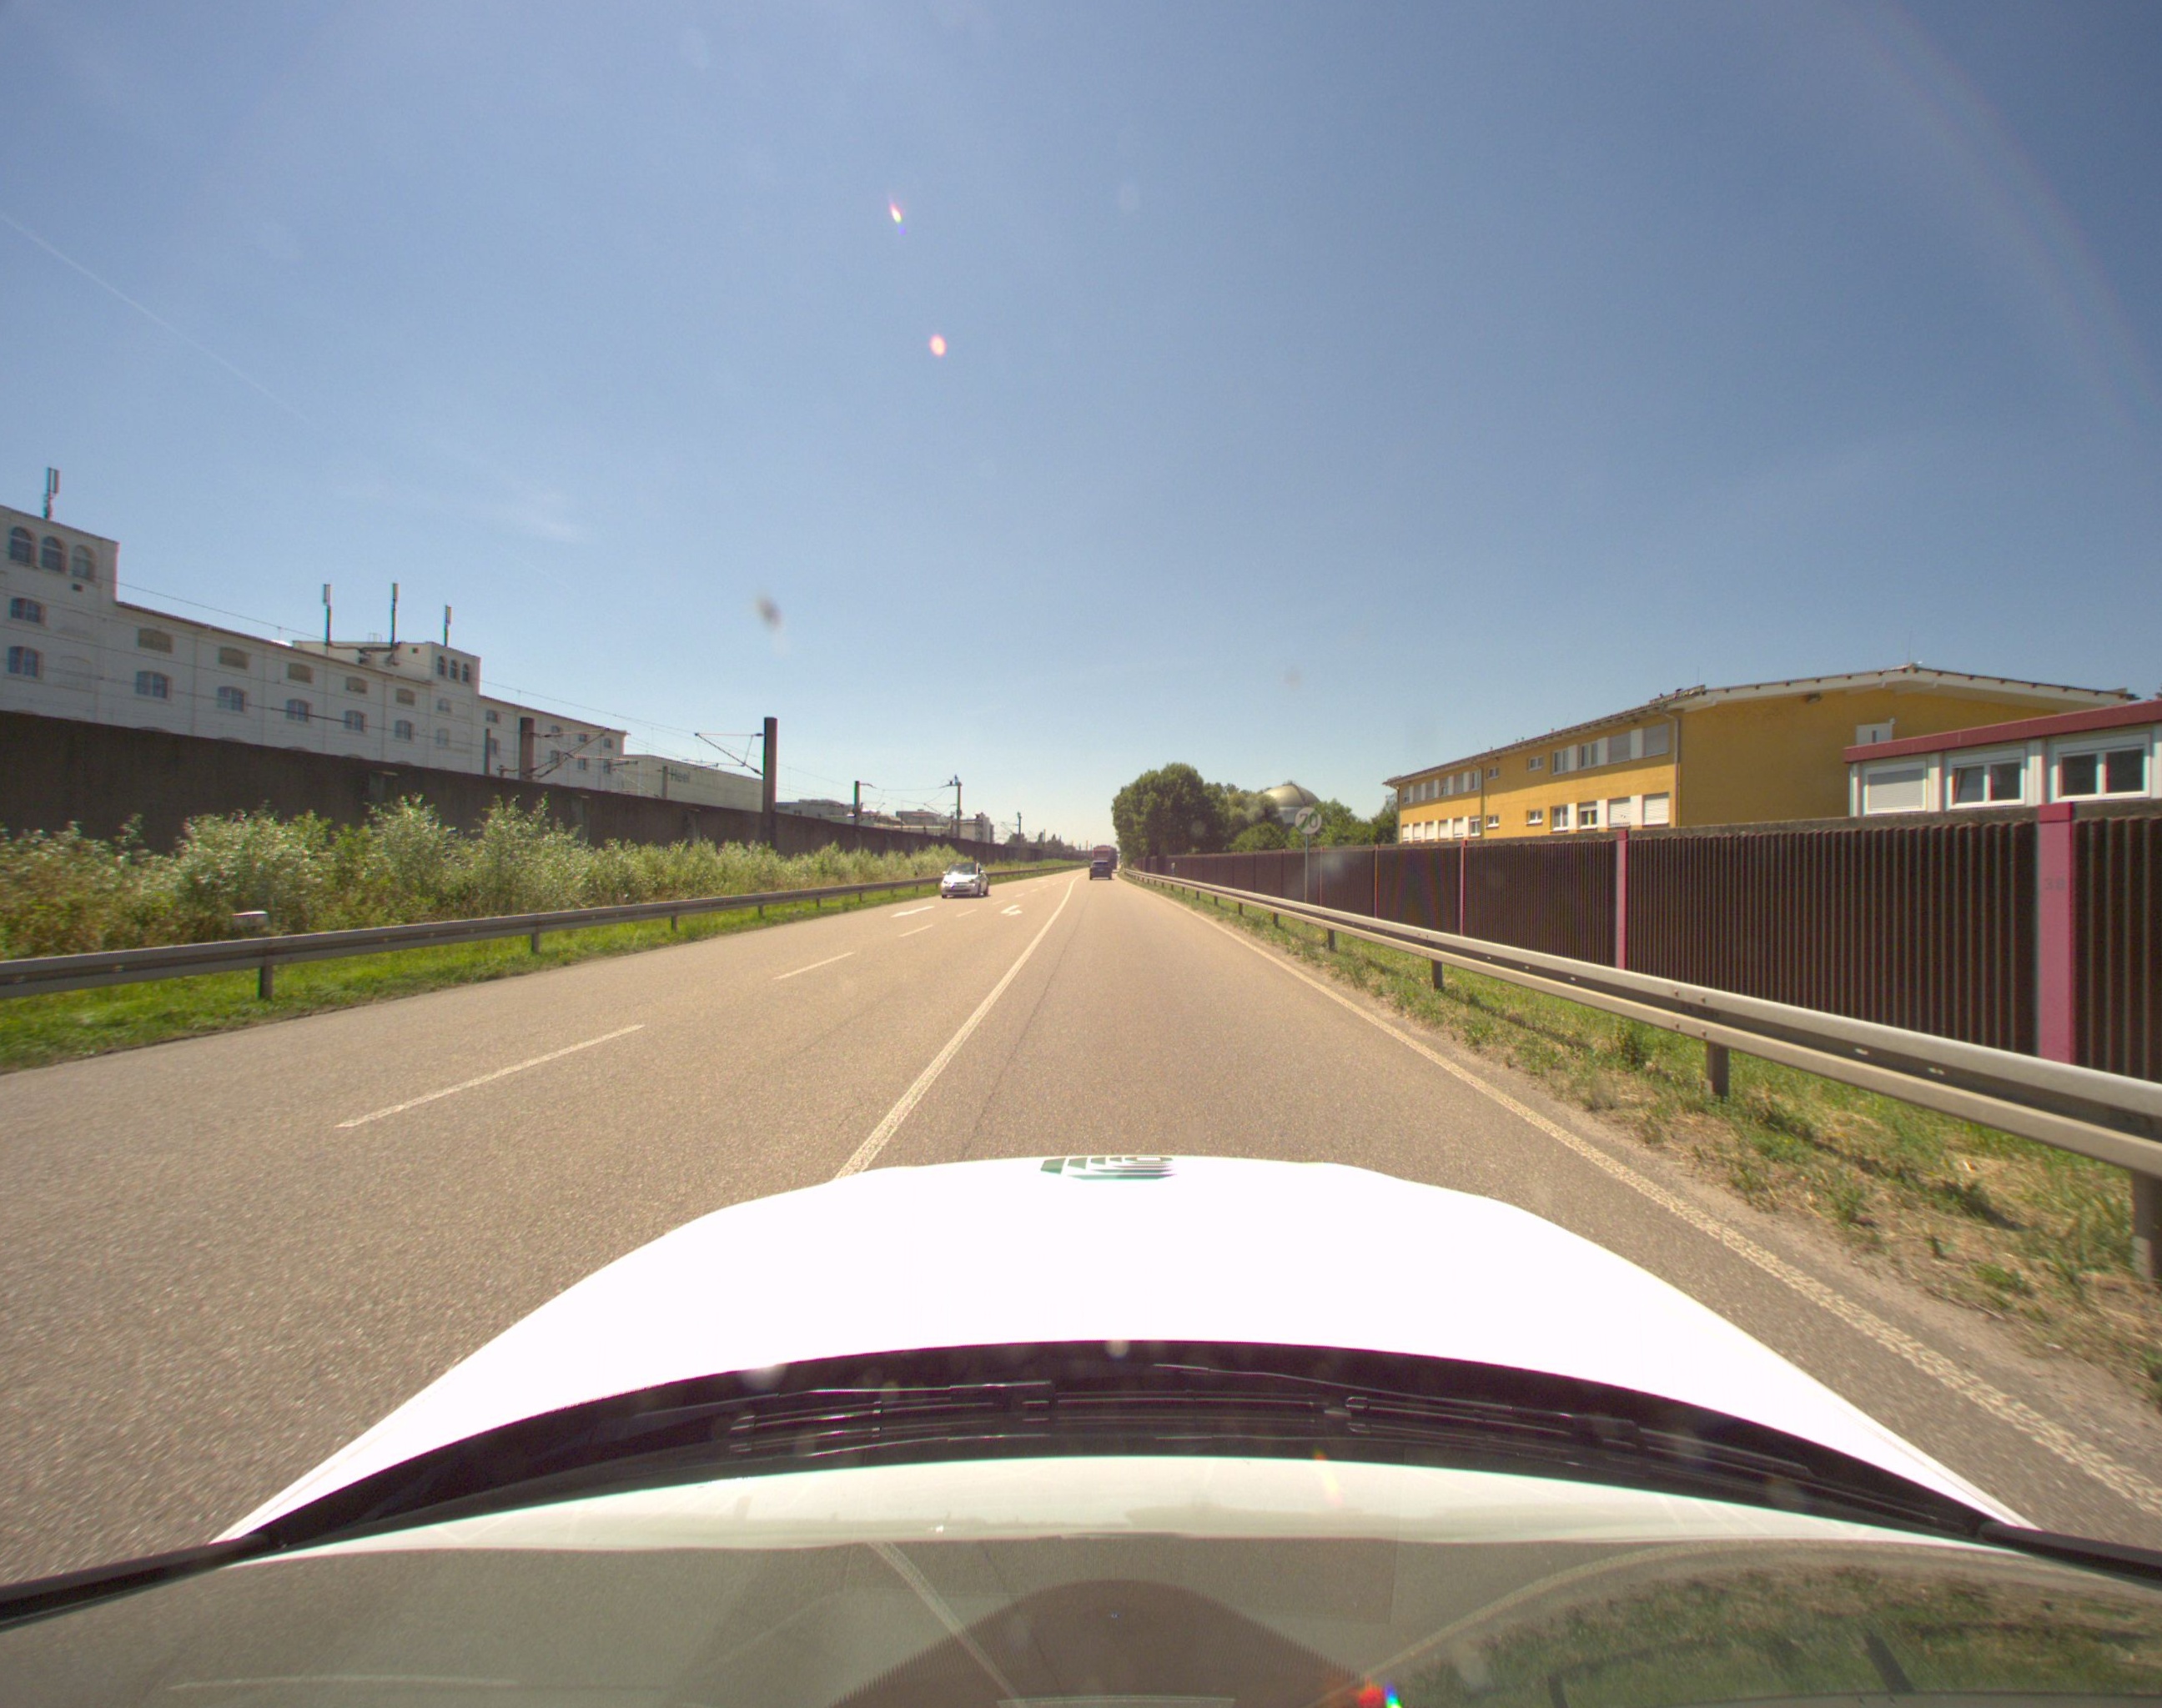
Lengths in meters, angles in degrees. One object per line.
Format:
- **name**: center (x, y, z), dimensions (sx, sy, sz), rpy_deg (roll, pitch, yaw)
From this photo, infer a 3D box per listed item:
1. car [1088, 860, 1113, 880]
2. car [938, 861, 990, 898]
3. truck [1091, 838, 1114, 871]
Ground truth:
- **car**: center (1.629, 1.319, 65.982), dimensions (1.986, 1.503, 4.001), rpy_deg (0, -2, 2)
- **car**: center (-5.041, 1.055, 35.497), dimensions (1.666, 1.502, 3.722), rpy_deg (-1, -1, 1)
- **truck**: center (3.005, 0.172, 110.449), dimensions (2.984, 4.181, 11.812), rpy_deg (-1, -1, 2)
